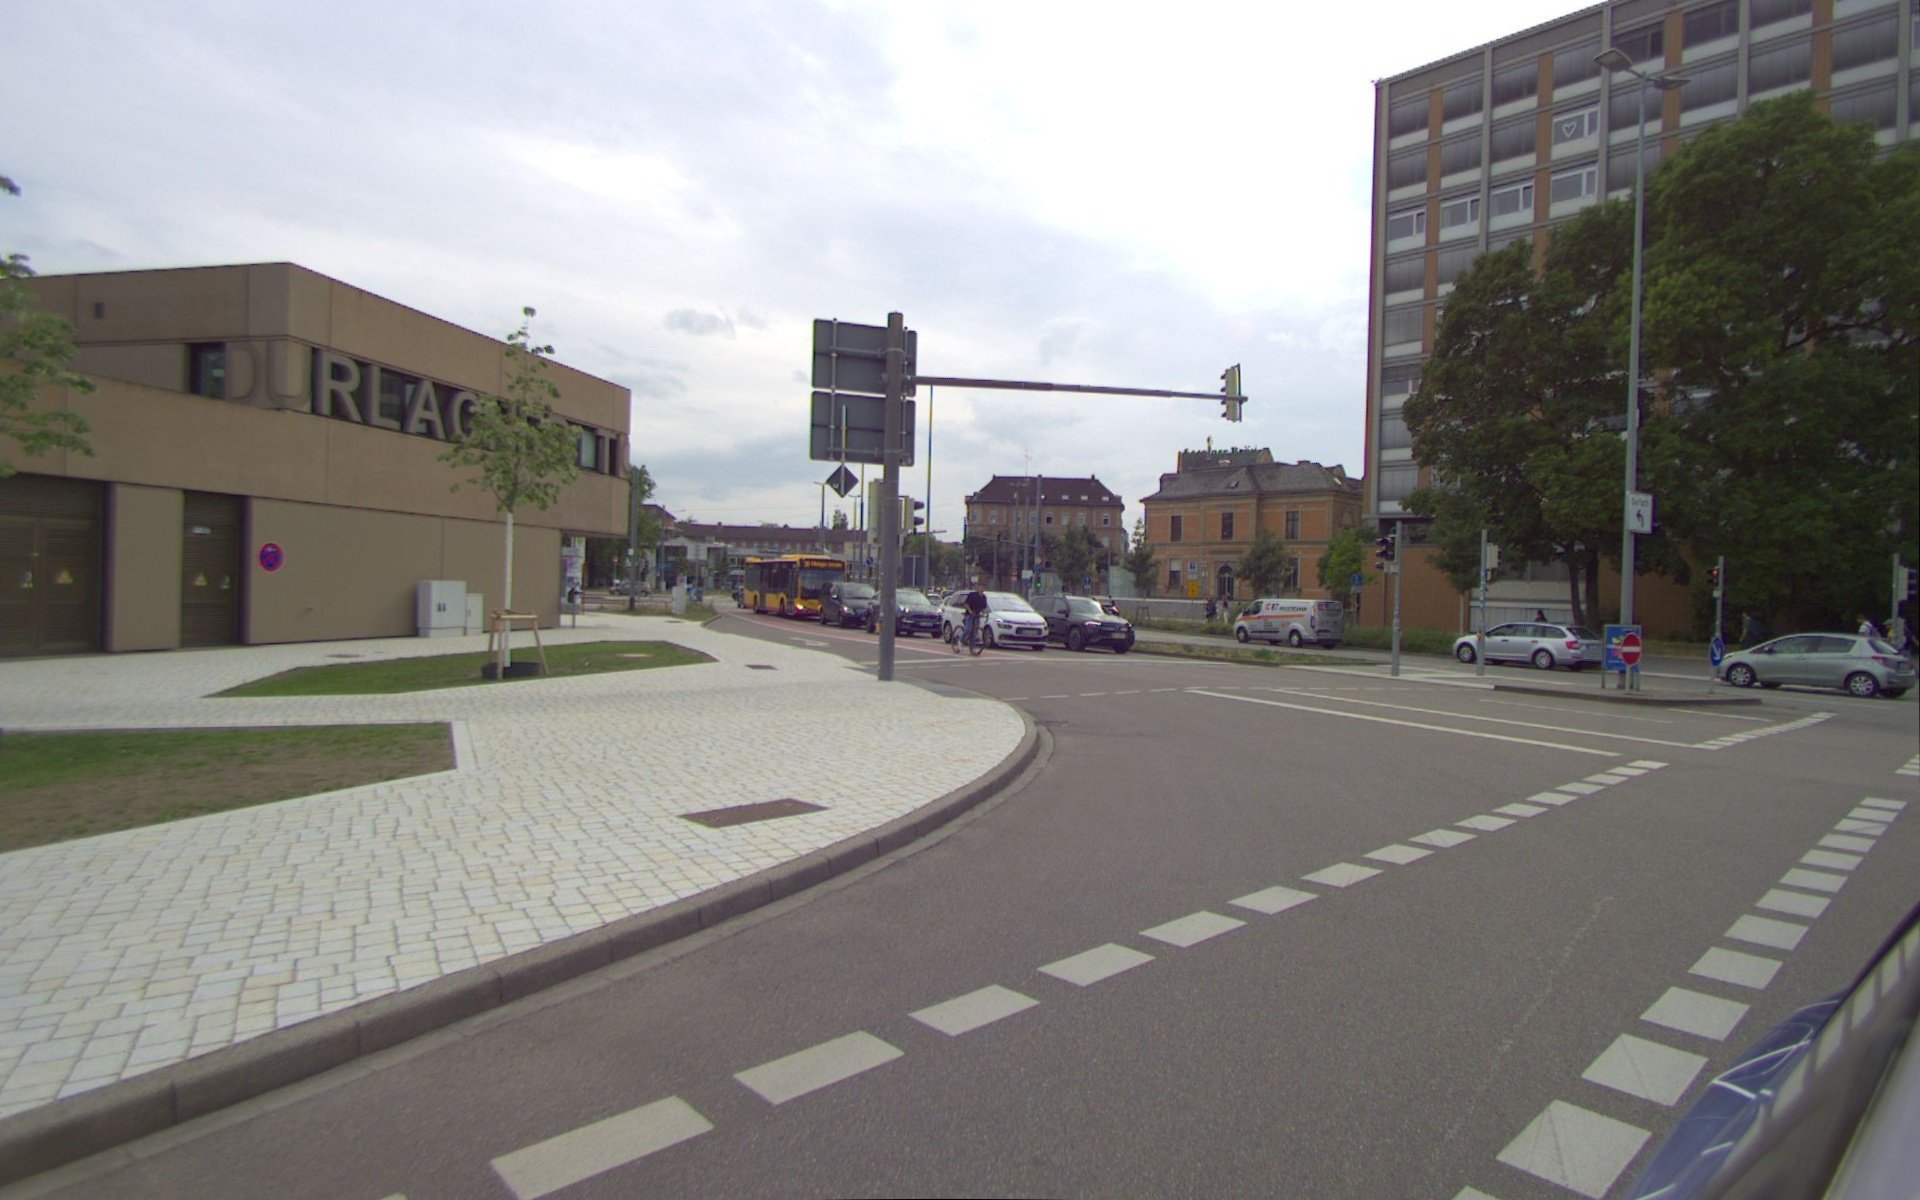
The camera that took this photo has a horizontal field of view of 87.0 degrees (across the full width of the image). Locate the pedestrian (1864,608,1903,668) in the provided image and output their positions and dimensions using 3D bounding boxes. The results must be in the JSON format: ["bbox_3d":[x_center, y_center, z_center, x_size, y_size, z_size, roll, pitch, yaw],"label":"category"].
[{"bbox_3d":[27.141,1.104,29.741,0.628,1.732,0.708,2,0,-36],"label":"pedestrian"}]

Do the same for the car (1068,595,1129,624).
[{"bbox_3d":[8.048,0.512,59.171,1.824,1.552,4.010,3,-1,-20],"label":"car"}]

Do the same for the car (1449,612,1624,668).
[{"bbox_3d":[18.051,1.218,31.932,1.787,1.493,4.535,3,-1,-27],"label":"car"}]

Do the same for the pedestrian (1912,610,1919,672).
[{"bbox_3d":[27.204,1.170,28.318,0.628,1.733,0.708,4,-1,-36],"label":"pedestrian"}]

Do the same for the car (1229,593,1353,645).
[{"bbox_3d":[13.686,0.740,42.220,1.787,1.984,5.214,3,-1,-24],"label":"car"}]

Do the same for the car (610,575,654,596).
[{"bbox_3d":[-31.812,-1.431,98.137,3.916,1.788,2.004,3,-1,-21],"label":"car"}]

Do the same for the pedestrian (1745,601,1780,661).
[{"bbox_3d":[25.698,0.986,32.421,0.628,1.876,0.708,1,0,-36],"label":"pedestrian"}]

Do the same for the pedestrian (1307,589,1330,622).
[{"bbox_3d":[17.871,0.269,50.471,0.764,1.593,0.814,0,1,-17],"label":"pedestrian"}]

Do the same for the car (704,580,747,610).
[{"bbox_3d":[-16.143,-0.362,69.595,1.958,1.923,4.298,3,-1,-25],"label":"car"}]

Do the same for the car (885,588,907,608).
[{"bbox_3d":[-6.978,-0.173,110.274,1.959,2.039,4.005,3,-1,-7],"label":"car"}]

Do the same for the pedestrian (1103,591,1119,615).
[{"bbox_3d":[10.234,0.186,68.549,0.764,1.593,0.814,0,1,-13],"label":"pedestrian"}]

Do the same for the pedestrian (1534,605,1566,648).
[{"bbox_3d":[22.910,1.021,39.294,0.766,1.593,0.812,0,1,-36],"label":"pedestrian"}]

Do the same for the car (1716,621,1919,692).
[{"bbox_3d":[21.439,1.361,25.155,1.637,1.508,3.882,3,-1,-27],"label":"car"}]

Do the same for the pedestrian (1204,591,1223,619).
[{"bbox_3d":[14.943,0.286,59.601,0.764,1.593,0.814,0,1,-13],"label":"pedestrian"}]

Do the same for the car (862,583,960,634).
[{"bbox_3d":[-1.833,0.275,36.408,1.958,1.672,4.298,3,-1,-25],"label":"car"}]

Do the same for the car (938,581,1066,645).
[{"bbox_3d":[1.132,0.354,29.853,1.958,1.672,4.298,3,-1,-25],"label":"car"}]

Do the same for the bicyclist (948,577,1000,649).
[{"bbox_3d":[0.341,0.305,24.540,0.852,1.690,0.882,3,-1,-30],"label":"bicyclist"}]

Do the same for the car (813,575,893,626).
[{"bbox_3d":[-4.520,0.008,42.241,1.958,1.923,4.298,3,-1,-25],"label":"car"}]

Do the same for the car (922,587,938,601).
[{"bbox_3d":[-3.663,-0.704,123.675,1.805,1.635,3.547,3,-1,-2],"label":"car"}]

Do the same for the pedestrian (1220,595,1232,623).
[{"bbox_3d":[15.279,0.526,58.145,0.546,1.555,0.543,1,1,31],"label":"pedestrian"}]

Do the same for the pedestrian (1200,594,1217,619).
[{"bbox_3d":[15.664,0.397,63.784,0.764,1.593,0.814,0,1,-13],"label":"pedestrian"}]

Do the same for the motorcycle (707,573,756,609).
[{"bbox_3d":[-14.285,-0.572,63.178,1.959,2.039,4.006,3,-1,-27],"label":"motorcycle"}]

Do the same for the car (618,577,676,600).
[{"bbox_3d":[-25.118,-0.943,81.324,3.956,1.594,1.997,4,-1,-41],"label":"car"}]

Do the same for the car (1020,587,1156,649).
[{"bbox_3d":[3.783,0.501,30.798,1.958,1.672,4.520,3,-1,-25],"label":"car"}]

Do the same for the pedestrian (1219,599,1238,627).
[{"bbox_3d":[15.436,0.731,58.141,0.764,1.593,0.814,0,1,-13],"label":"pedestrian"}]

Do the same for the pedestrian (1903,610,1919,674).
[{"bbox_3d":[26.619,1.159,27.947,0.628,1.732,0.708,1,0,-36],"label":"pedestrian"}]

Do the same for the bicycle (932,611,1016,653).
[{"bbox_3d":[0.293,0.758,24.564,0.847,0.888,2.522,3,-1,-30],"label":"bicycle"}]

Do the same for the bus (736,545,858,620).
[{"bbox_3d":[-8.733,-0.864,52.353,3.092,3.296,12.436,3,-1,-24],"label":"bus"}]
